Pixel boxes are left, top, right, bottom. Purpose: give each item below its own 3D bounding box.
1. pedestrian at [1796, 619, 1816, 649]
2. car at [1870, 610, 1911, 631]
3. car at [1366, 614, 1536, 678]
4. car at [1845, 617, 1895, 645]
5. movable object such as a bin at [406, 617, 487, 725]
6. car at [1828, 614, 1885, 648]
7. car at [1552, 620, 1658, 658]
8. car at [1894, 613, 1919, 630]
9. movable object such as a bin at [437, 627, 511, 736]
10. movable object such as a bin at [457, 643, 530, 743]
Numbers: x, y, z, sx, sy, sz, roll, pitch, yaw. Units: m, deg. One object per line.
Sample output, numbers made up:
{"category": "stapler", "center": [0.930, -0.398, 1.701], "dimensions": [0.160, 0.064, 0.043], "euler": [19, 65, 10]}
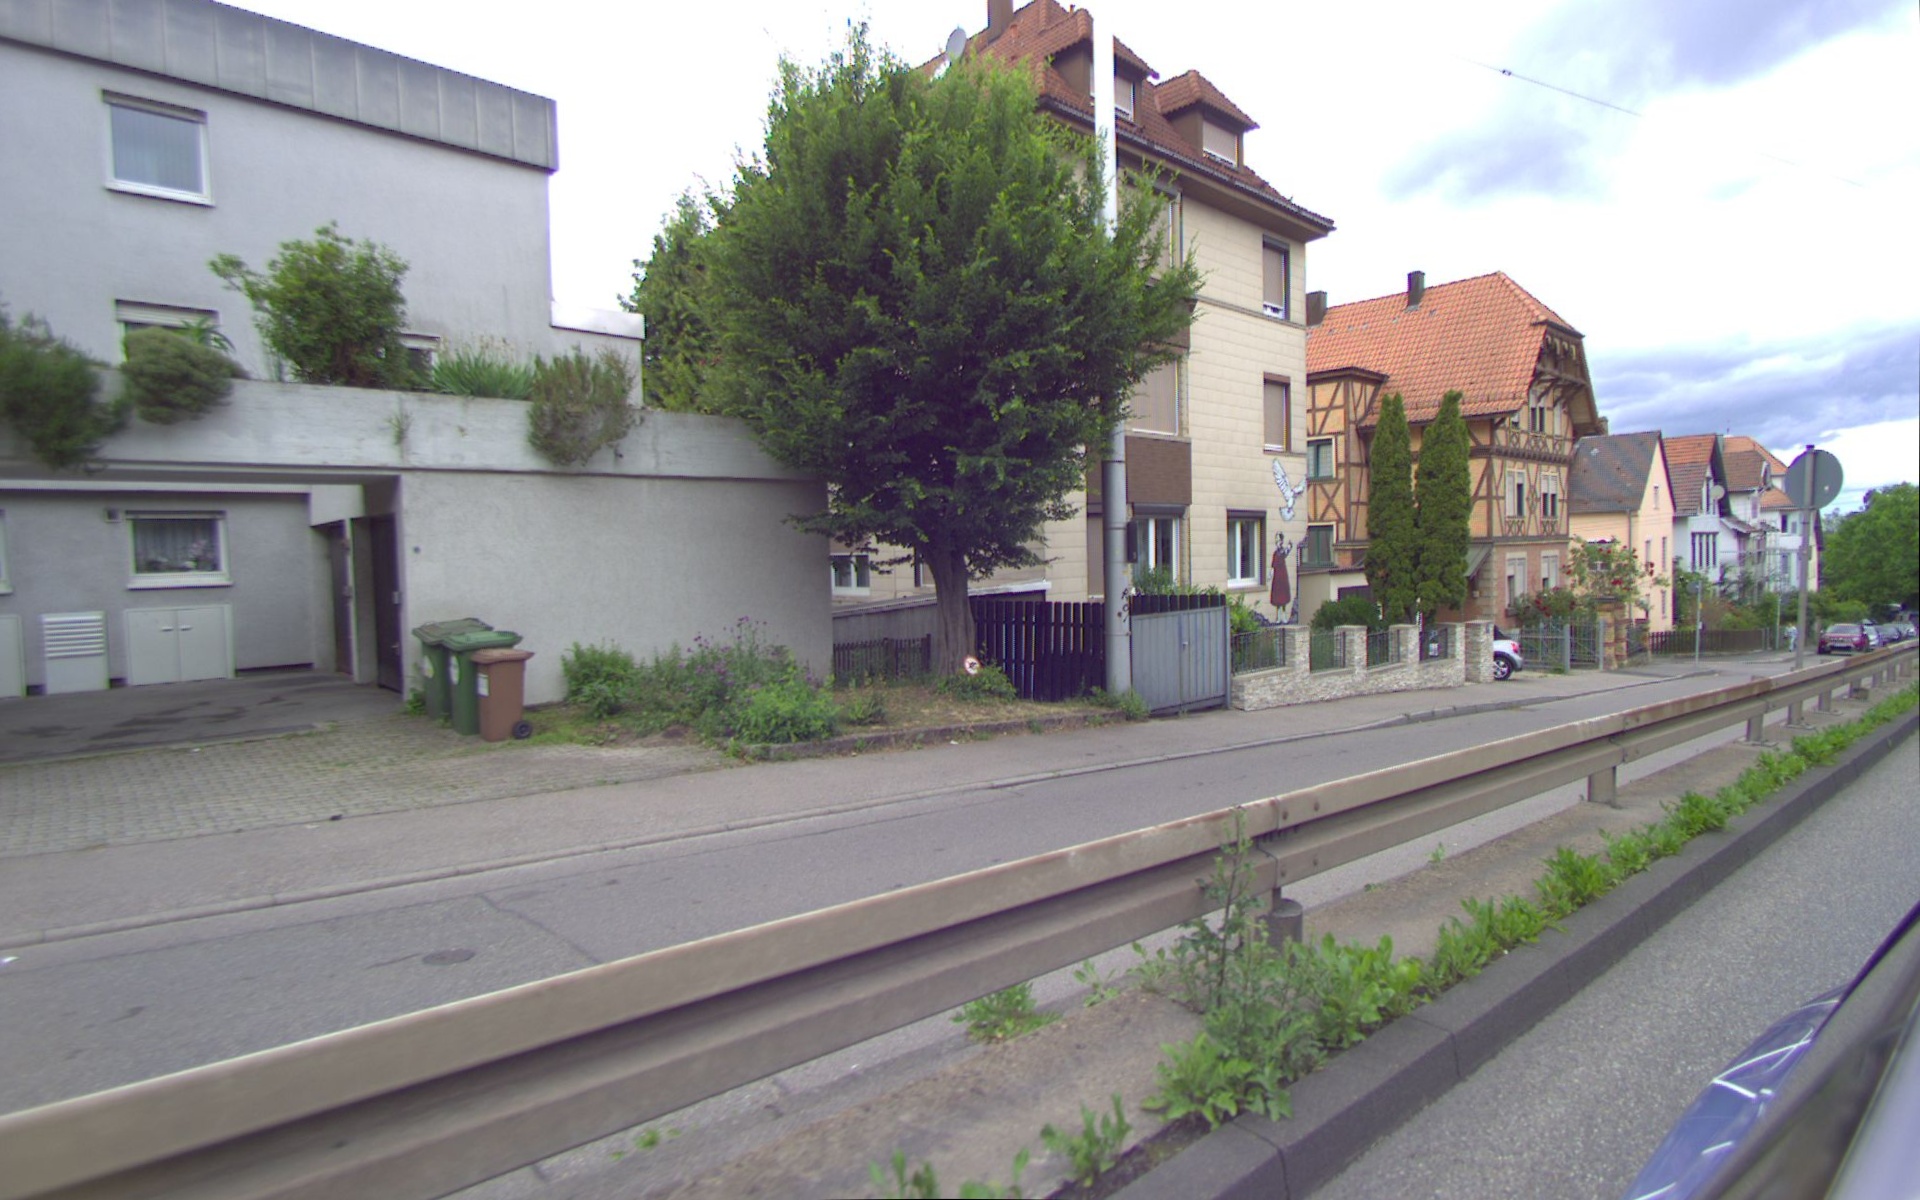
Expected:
{"category": "pedestrian", "center": [43.237, 1.735, 51.712], "dimensions": [0.683, 1.490, 0.712], "euler": [1, -1, -43]}
{"category": "car", "center": [64.691, 1.428, 70.358], "dimensions": [3.933, 1.379, 1.848], "euler": [0, 0, -44]}
{"category": "car", "center": [12.704, 1.208, 26.246], "dimensions": [3.764, 1.423, 1.530], "euler": [-5, -3, 30]}
{"category": "car", "center": [53.305, 1.777, 59.267], "dimensions": [3.933, 1.518, 1.919], "euler": [1, -1, -44]}
{"category": "movable object such as a bin", "center": [-5.699, 0.769, 11.235], "dimensions": [0.644, 1.092, 0.543], "euler": [1, 6, -42]}
{"category": "car", "center": [46.522, 1.593, 52.487], "dimensions": [3.933, 1.672, 1.919], "euler": [1, -1, -44]}
{"category": "car", "center": [28.736, 1.703, 45.171], "dimensions": [3.785, 1.583, 1.522], "euler": [0, -1, 44]}
{"category": "car", "center": [80.052, 1.764, 85.226], "dimensions": [3.933, 1.379, 1.847], "euler": [1, -1, -44]}
{"category": "movable object such as a bin", "center": [-5.228, 0.859, 10.891], "dimensions": [0.551, 1.067, 0.543], "euler": [1, 6, -42]}
{"category": "movable object such as a bin", "center": [-4.857, 0.955, 10.537], "dimensions": [0.551, 0.951, 0.453], "euler": [1, 3, -42]}
